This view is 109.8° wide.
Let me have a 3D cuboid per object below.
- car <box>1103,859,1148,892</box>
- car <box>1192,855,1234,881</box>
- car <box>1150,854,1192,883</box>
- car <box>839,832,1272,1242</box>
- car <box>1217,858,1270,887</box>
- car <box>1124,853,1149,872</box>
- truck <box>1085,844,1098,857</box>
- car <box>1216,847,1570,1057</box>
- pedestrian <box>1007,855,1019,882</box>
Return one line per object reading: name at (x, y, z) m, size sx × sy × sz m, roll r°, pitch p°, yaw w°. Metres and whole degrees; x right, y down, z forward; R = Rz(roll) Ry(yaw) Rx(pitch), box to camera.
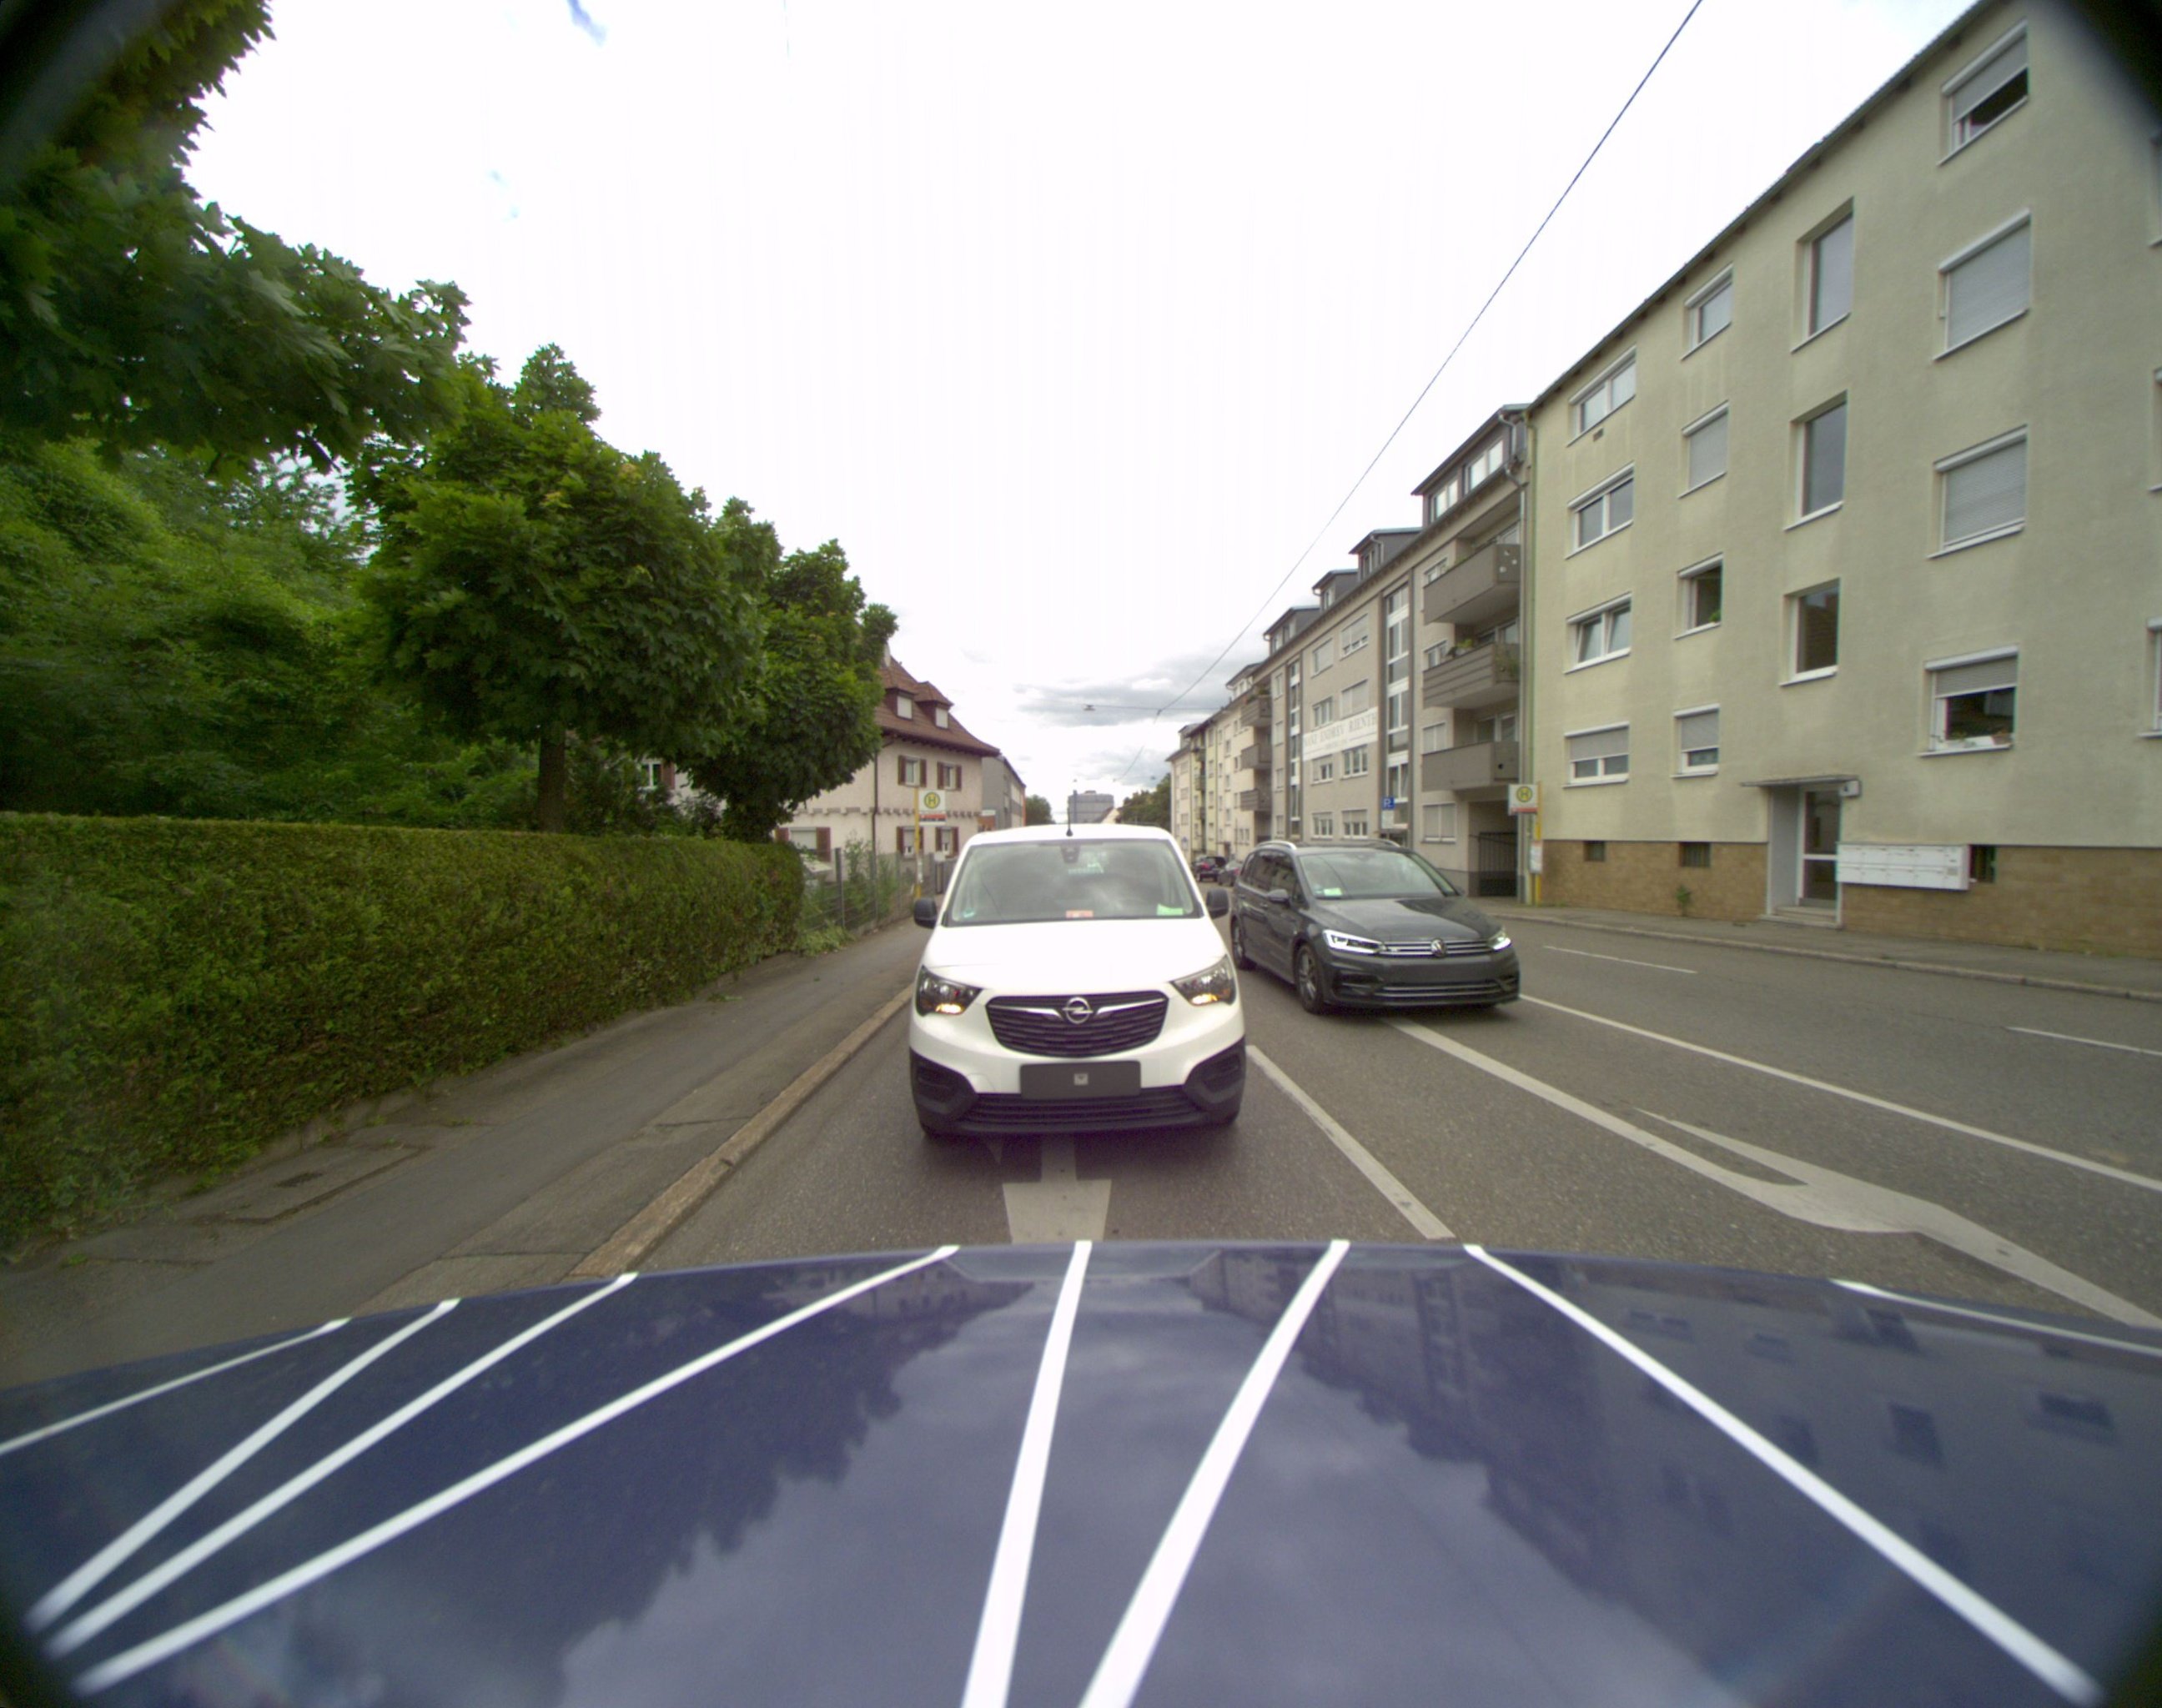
car at (1.967, 0.948, 34.722) m, size 1.881 × 1.347 × 4.146 m, roll 0°, pitch 0°, yaw 1°
car at (8.409, 0.854, 48.689) m, size 1.776 × 1.591 × 3.538 m, roll 0°, pitch 1°, yaw -5°
car at (5.014, 0.791, 42.834) m, size 1.775 × 1.513 × 4.082 m, roll 0°, pitch 1°, yaw -2°
car at (-0.079, 0.797, 5.742) m, size 1.862 × 1.772 × 4.711 m, roll -2°, pitch 1°, yaw 1°
car at (8.390, 0.928, 39.557) m, size 1.776 × 1.395 × 3.538 m, roll 0°, pitch 1°, yaw -5°
car at (4.702, 0.694, 64.507) m, size 1.593 × 1.474 × 3.597 m, roll -1°, pitch 1°, yaw -5°
truck at (2.102, -0.610, 152.762) m, size 2.547 × 2.522 × 5.493 m, roll 0°, pitch 0°, yaw -1°
car at (2.905, 0.758, 8.311) m, size 1.863 × 1.601 × 4.478 m, roll -2°, pitch 1°, yaw -2°
pedestrian at (-4.627, 1.002, 51.761) m, size 0.648 × 1.830 × 0.591 m, roll -1°, pitch 1°, yaw -16°
